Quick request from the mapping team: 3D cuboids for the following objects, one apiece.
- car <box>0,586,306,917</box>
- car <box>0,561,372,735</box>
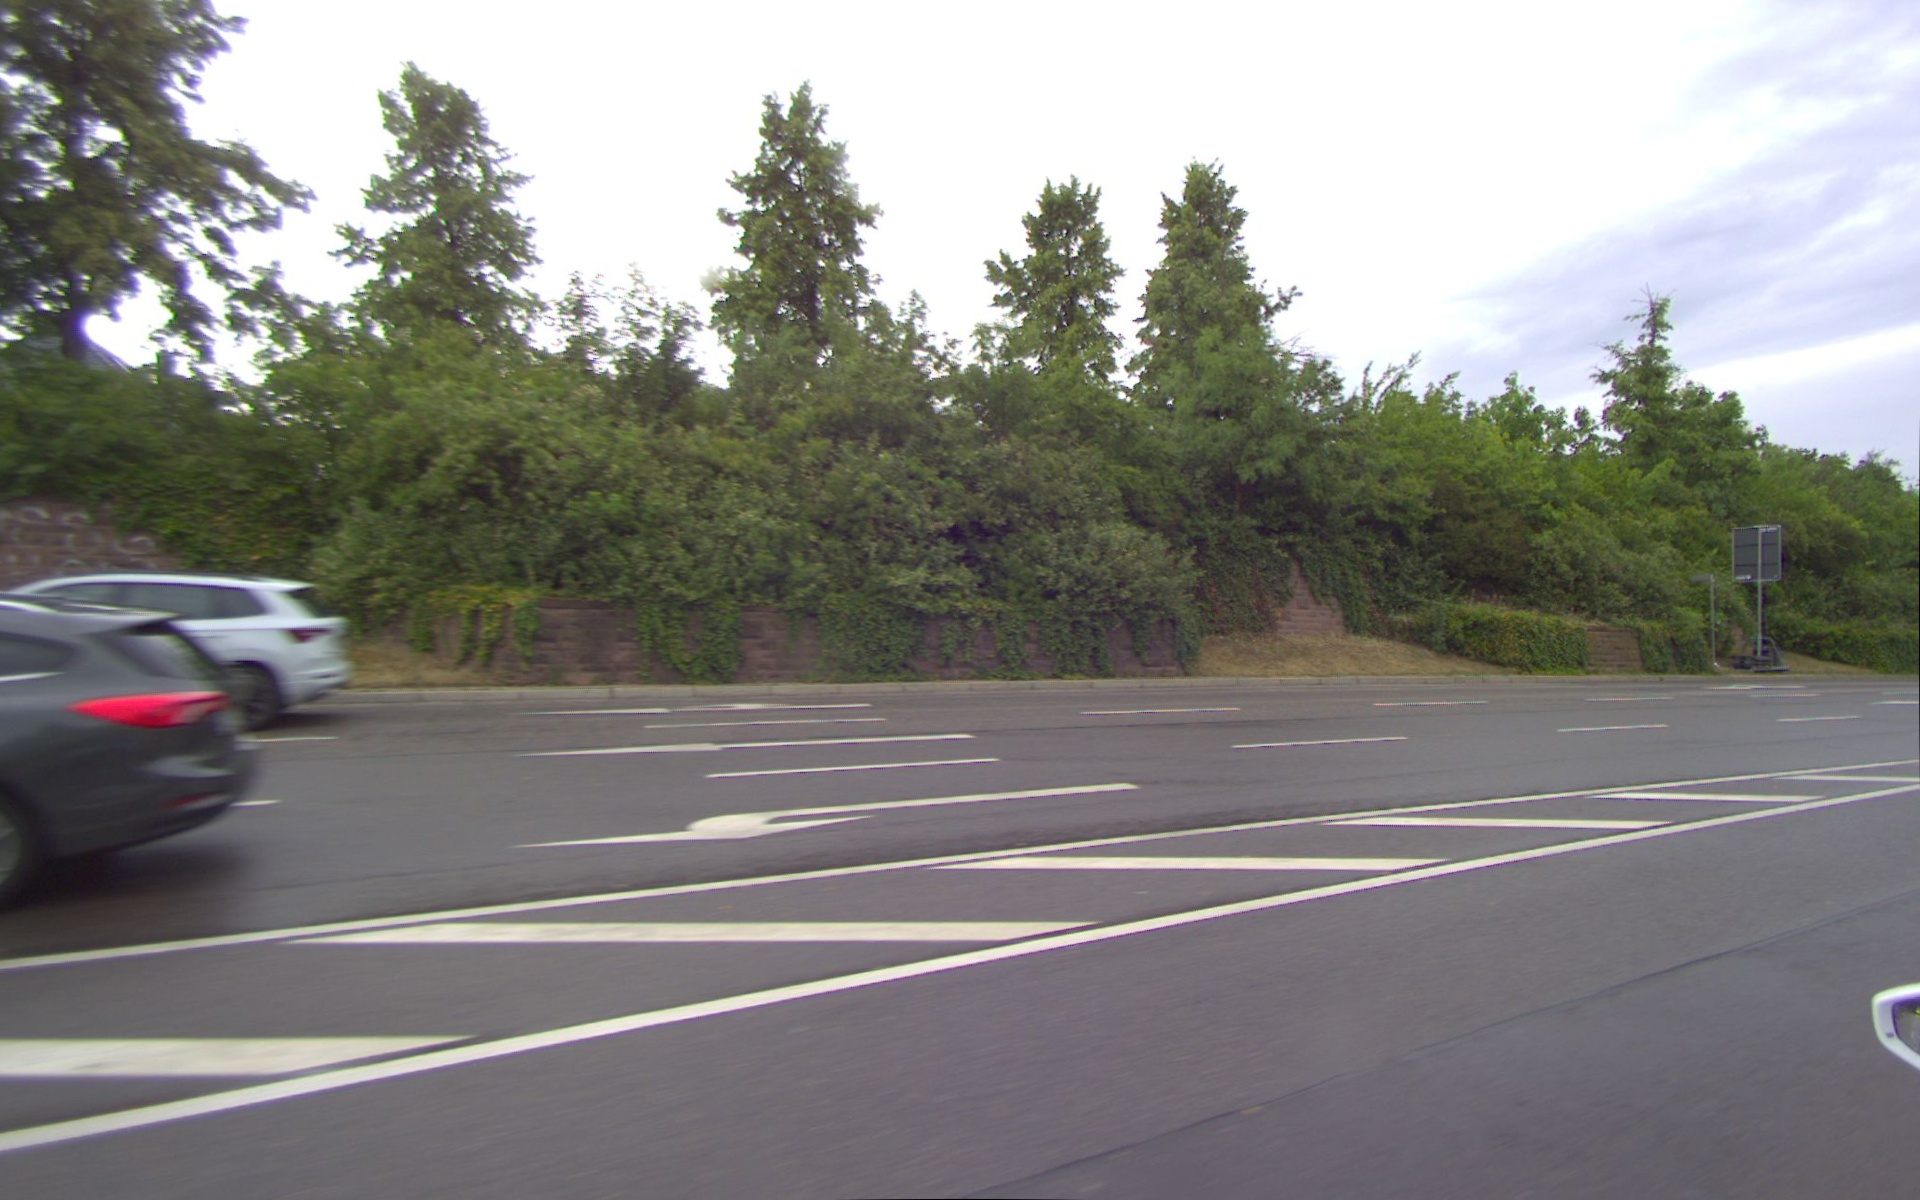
[{"bbox_3d":[-5.866,0.651,4.664,4.589,1.491,1.770,1,0,-29],"label":"car"},{"bbox_3d":[-8.500,0.458,10.486,3.950,1.612,1.717,1,0,-28],"label":"car"}]
